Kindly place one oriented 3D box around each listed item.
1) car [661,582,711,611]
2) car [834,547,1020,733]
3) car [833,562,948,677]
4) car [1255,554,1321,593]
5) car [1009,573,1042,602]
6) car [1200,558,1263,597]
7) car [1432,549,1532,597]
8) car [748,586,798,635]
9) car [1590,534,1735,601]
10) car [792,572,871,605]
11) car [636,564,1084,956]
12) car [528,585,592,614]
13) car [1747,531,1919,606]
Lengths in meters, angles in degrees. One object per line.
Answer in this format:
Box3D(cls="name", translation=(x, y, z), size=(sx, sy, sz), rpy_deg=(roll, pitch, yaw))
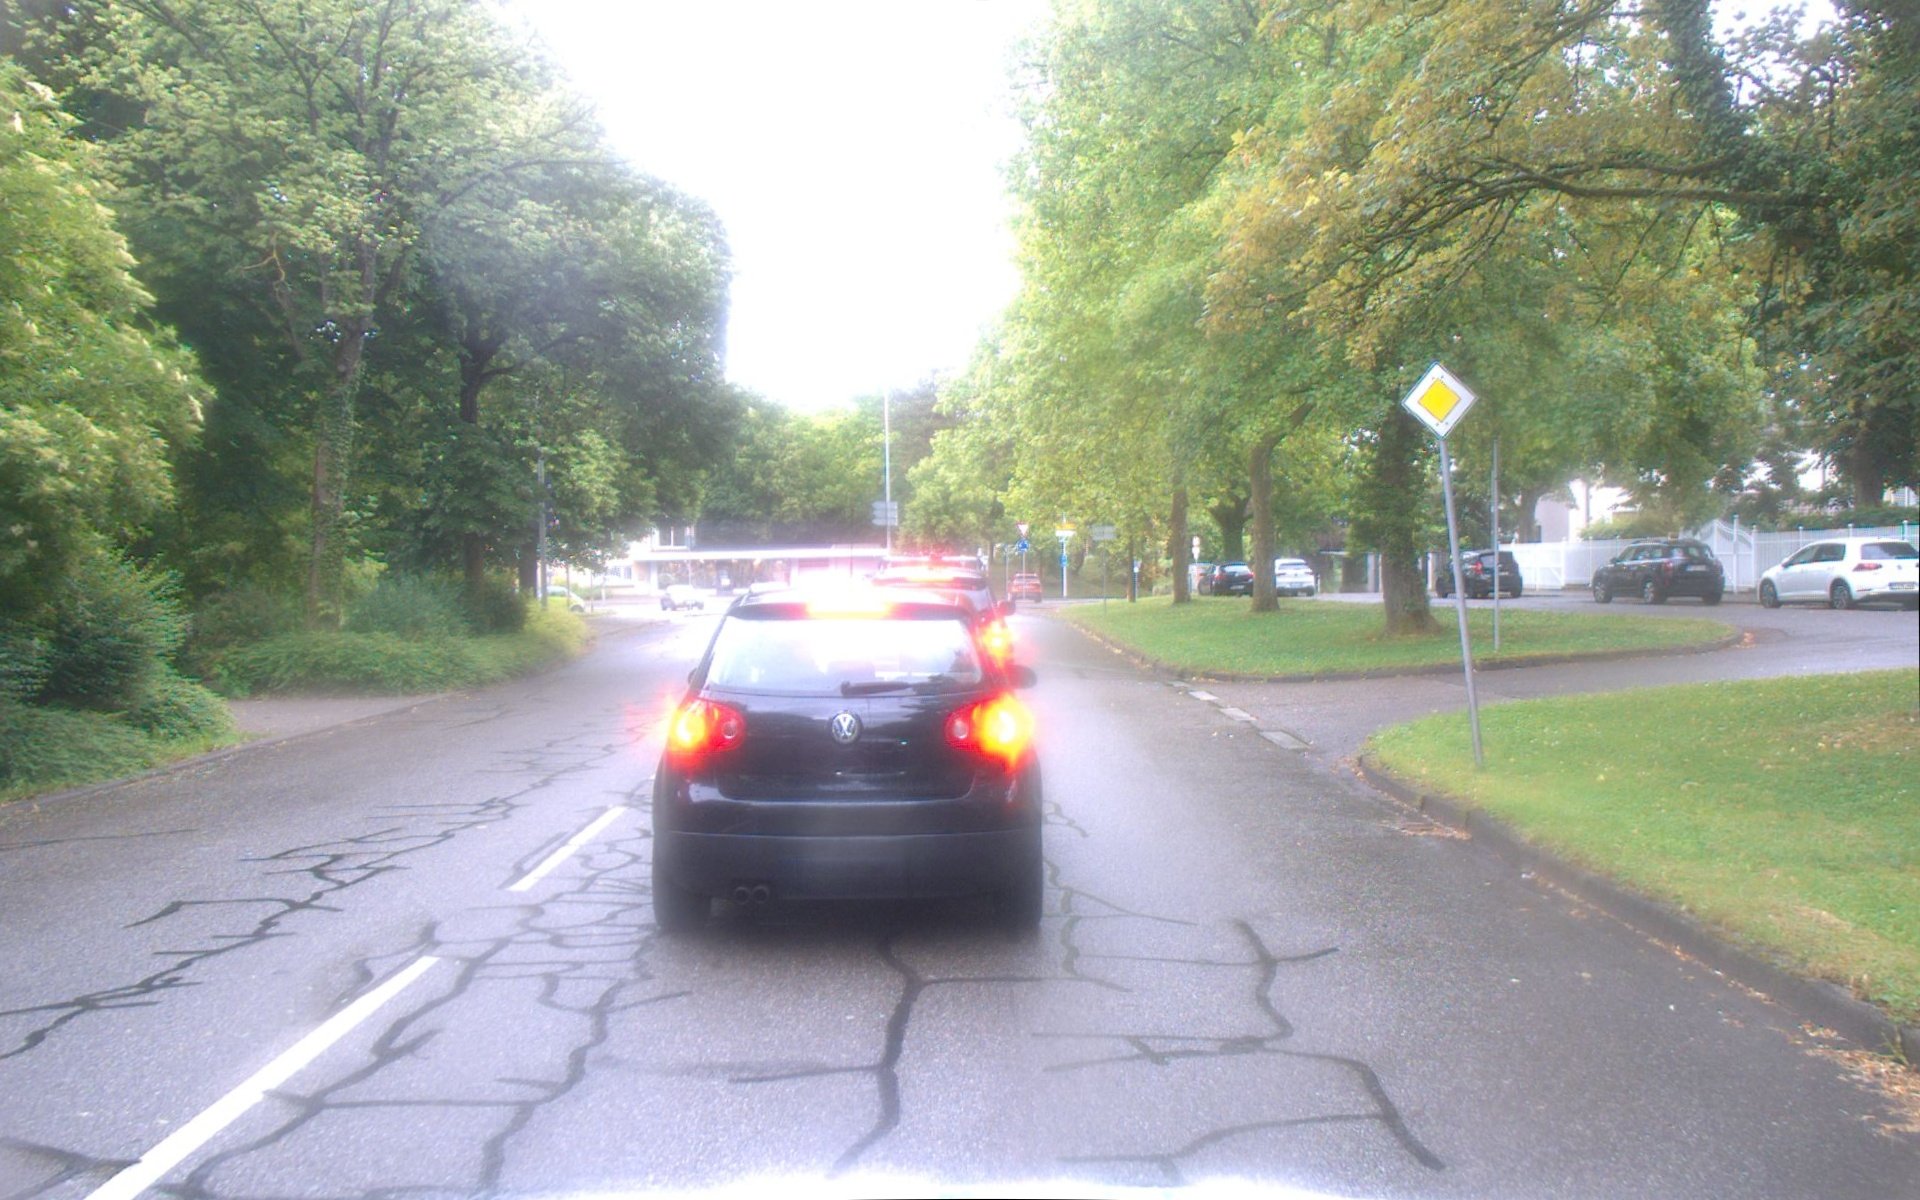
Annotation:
Box3D(cls="car", translation=(-14.979, -0.183, 90.346), size=(1.773, 1.417, 3.950), rpy_deg=(-3, 1, -23))
Box3D(cls="car", translation=(-0.334, 0.364, 18.459), size=(1.817, 1.816, 4.000), rpy_deg=(-1, 1, 0))
Box3D(cls="car", translation=(-1.134, 0.314, 28.719), size=(1.817, 1.816, 4.000), rpy_deg=(-1, 0, 0))
Box3D(cls="car", translation=(13.263, -1.078, 67.089), size=(1.767, 1.430, 4.000), rpy_deg=(-3, 1, -1))
Box3D(cls="car", translation=(3.592, -0.679, 91.618), size=(1.671, 1.539, 3.673), rpy_deg=(-2, 0, 0))
Box3D(cls="car", translation=(10.900, -0.914, 66.680), size=(1.767, 1.409, 4.000), rpy_deg=(-3, 1, -1))
Box3D(cls="car", translation=(17.081, -0.916, 54.318), size=(1.766, 1.436, 4.110), rpy_deg=(-2, 2, -3))
Box3D(cls="car", translation=(-6.281, 0.332, 55.788), size=(1.577, 1.452, 4.004), rpy_deg=(-2, 2, -6))
Box3D(cls="car", translation=(17.837, -0.832, 42.206), size=(1.766, 1.556, 4.110), rpy_deg=(-2, 2, -3))
Box3D(cls="car", translation=(-6.488, -0.566, 83.894), size=(3.711, 1.646, 1.779), rpy_deg=(0, 0, 6))
Box3D(cls="car", translation=(-0.401, 0.603, 8.403), size=(1.762, 1.541, 3.754), rpy_deg=(0, 1, 0))
Box3D(cls="car", translation=(-20.217, -0.025, 83.682), size=(3.066, 1.333, 1.535), rpy_deg=(-2, 1, -13))
Box3D(cls="car", translation=(18.453, -0.681, 34.778), size=(1.585, 1.434, 4.006), rpy_deg=(-2, 2, -6))
